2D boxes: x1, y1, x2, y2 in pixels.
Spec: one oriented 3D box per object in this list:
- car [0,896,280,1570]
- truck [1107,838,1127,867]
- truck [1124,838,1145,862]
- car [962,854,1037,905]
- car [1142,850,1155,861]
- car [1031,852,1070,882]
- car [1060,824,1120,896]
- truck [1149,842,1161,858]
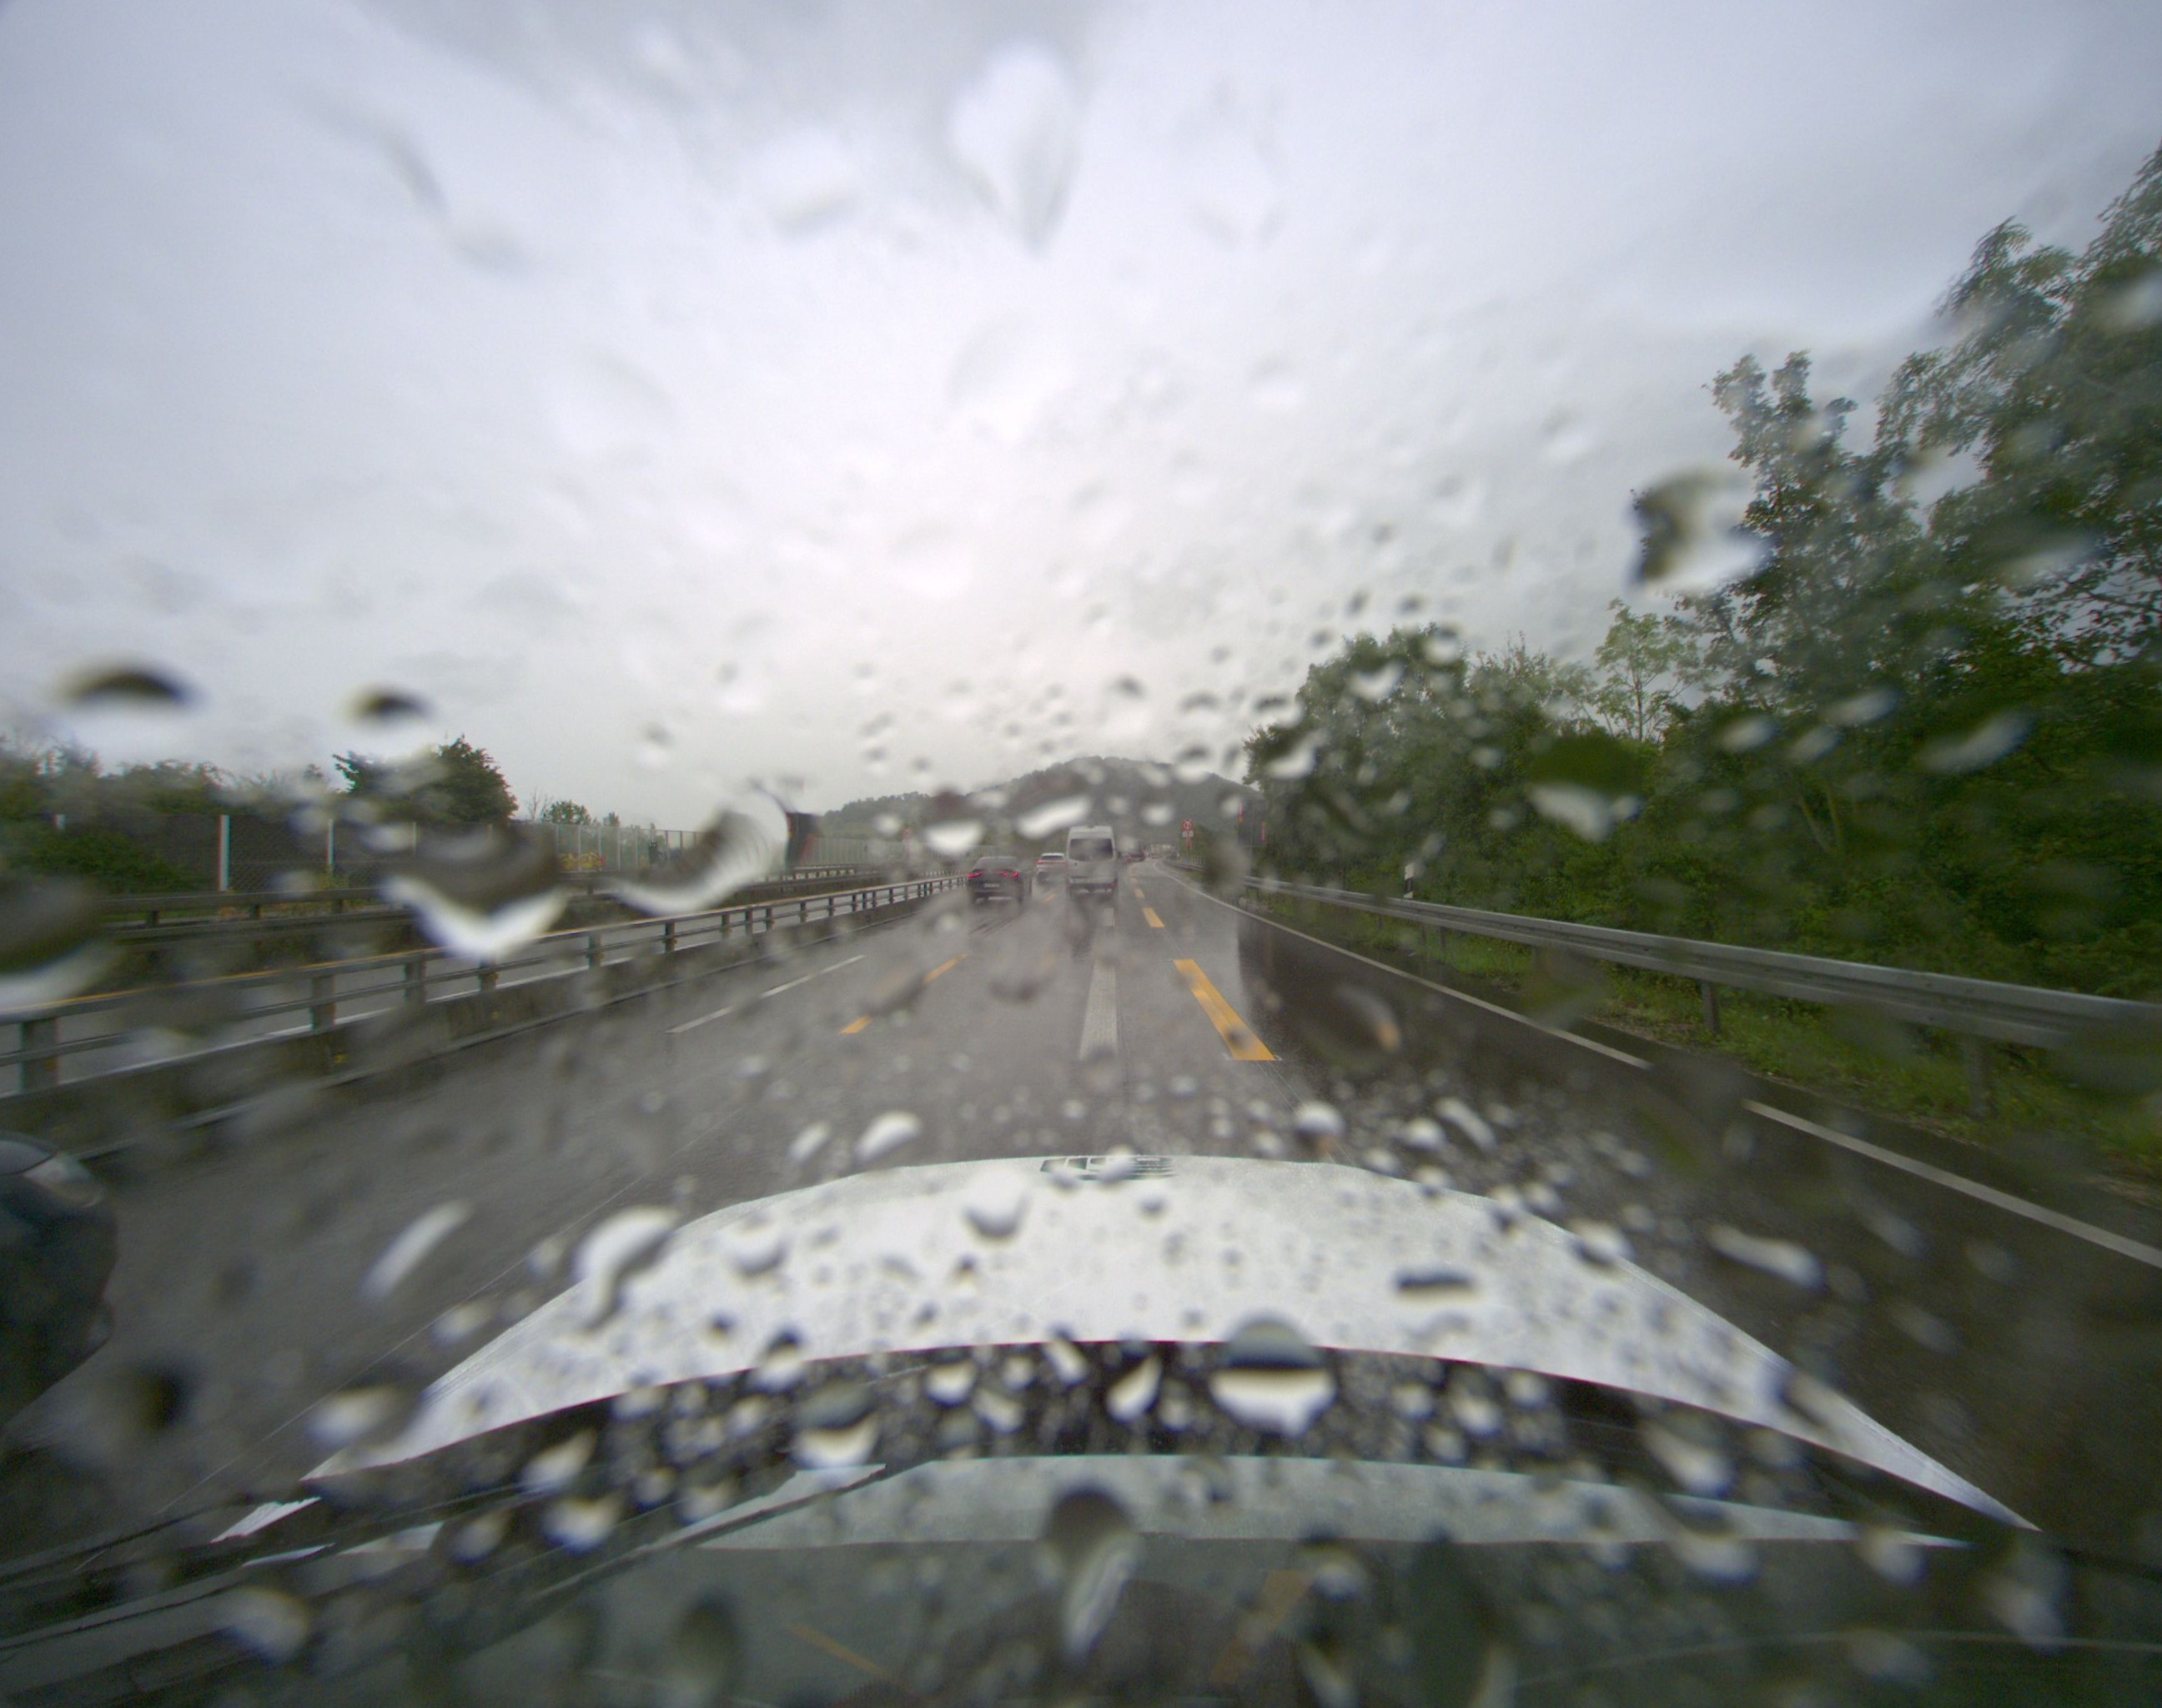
[{"bbox_3d":[-3.527,0.871,0.178,1.985,1.498,4.633,-1,0,2],"label":"car"},{"bbox_3d":[4.234,-0.139,95.018,1.984,3.109,8.509,0,0,5],"label":"truck"},{"bbox_3d":[10.215,-0.651,154.649,3.562,4.406,9.642,0,0,7],"label":"truck"},{"bbox_3d":[-2.670,0.823,27.719,1.986,1.585,4.415,0,0,2],"label":"car"},{"bbox_3d":[16.771,0.390,201.761,2.882,2.887,6.426,0,0,8],"label":"car"},{"bbox_3d":[-1.683,0.699,46.445,1.987,1.617,4.796,0,0,1],"label":"car"},{"bbox_3d":[0.448,0.236,31.749,2.136,2.571,5.393,0,0,2],"label":"car"},{"bbox_3d":[21.116,-1.070,232.242,3.019,4.406,9.644,0,0,8],"label":"truck"}]
